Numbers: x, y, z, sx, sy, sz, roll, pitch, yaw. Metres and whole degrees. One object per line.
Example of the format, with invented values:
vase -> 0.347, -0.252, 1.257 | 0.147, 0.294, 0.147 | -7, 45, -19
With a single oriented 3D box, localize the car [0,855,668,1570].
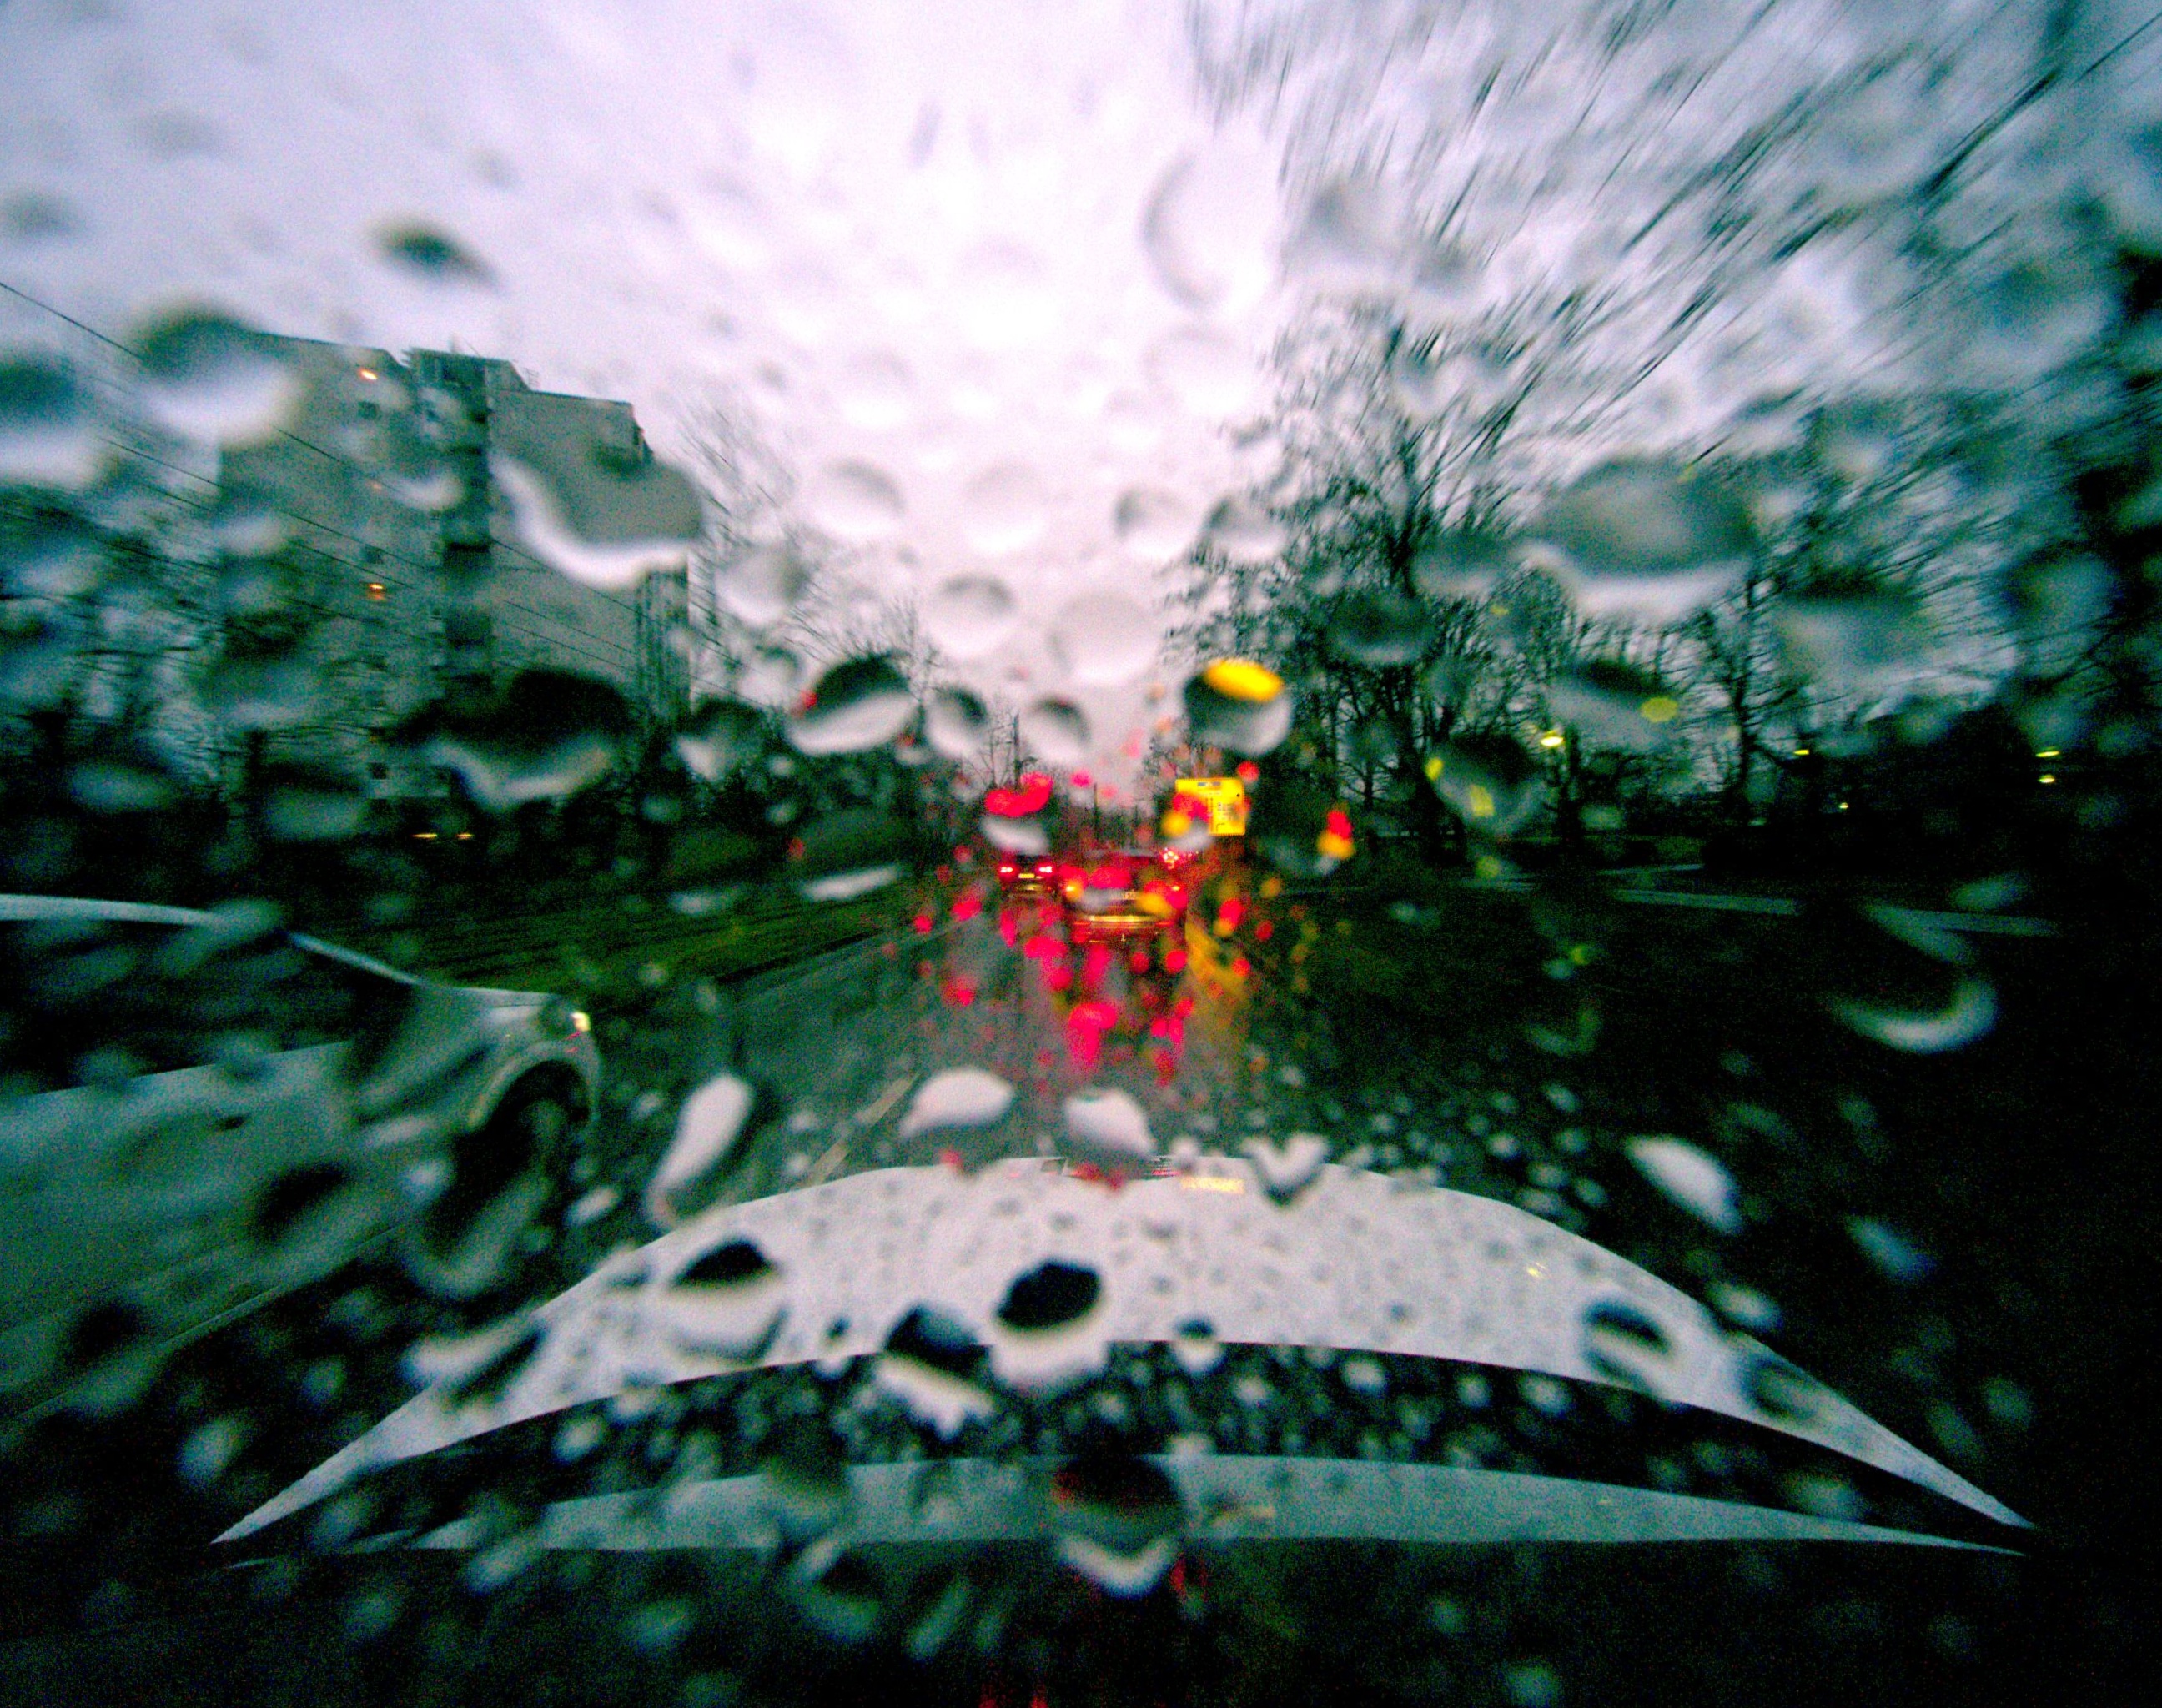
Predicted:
car -> -3.156, 0.787, 2.296 | 1.702, 1.525, 4.137 | -1, 0, 2

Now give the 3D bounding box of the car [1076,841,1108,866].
car -> 0.787, -0.028, 55.584 | 1.871, 1.593, 4.006 | -1, 1, 5

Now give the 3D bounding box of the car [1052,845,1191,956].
car -> 0.619, 0.653, 13.753 | 1.991, 1.584, 4.001 | -1, 0, 1

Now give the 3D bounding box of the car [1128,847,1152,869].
car -> 4.546, 0.289, 62.179 | 1.700, 1.558, 4.002 | -1, 0, 6

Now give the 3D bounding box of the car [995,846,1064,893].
car -> -1.701, 0.492, 28.103 | 1.872, 1.459, 4.003 | -1, 1, 3
